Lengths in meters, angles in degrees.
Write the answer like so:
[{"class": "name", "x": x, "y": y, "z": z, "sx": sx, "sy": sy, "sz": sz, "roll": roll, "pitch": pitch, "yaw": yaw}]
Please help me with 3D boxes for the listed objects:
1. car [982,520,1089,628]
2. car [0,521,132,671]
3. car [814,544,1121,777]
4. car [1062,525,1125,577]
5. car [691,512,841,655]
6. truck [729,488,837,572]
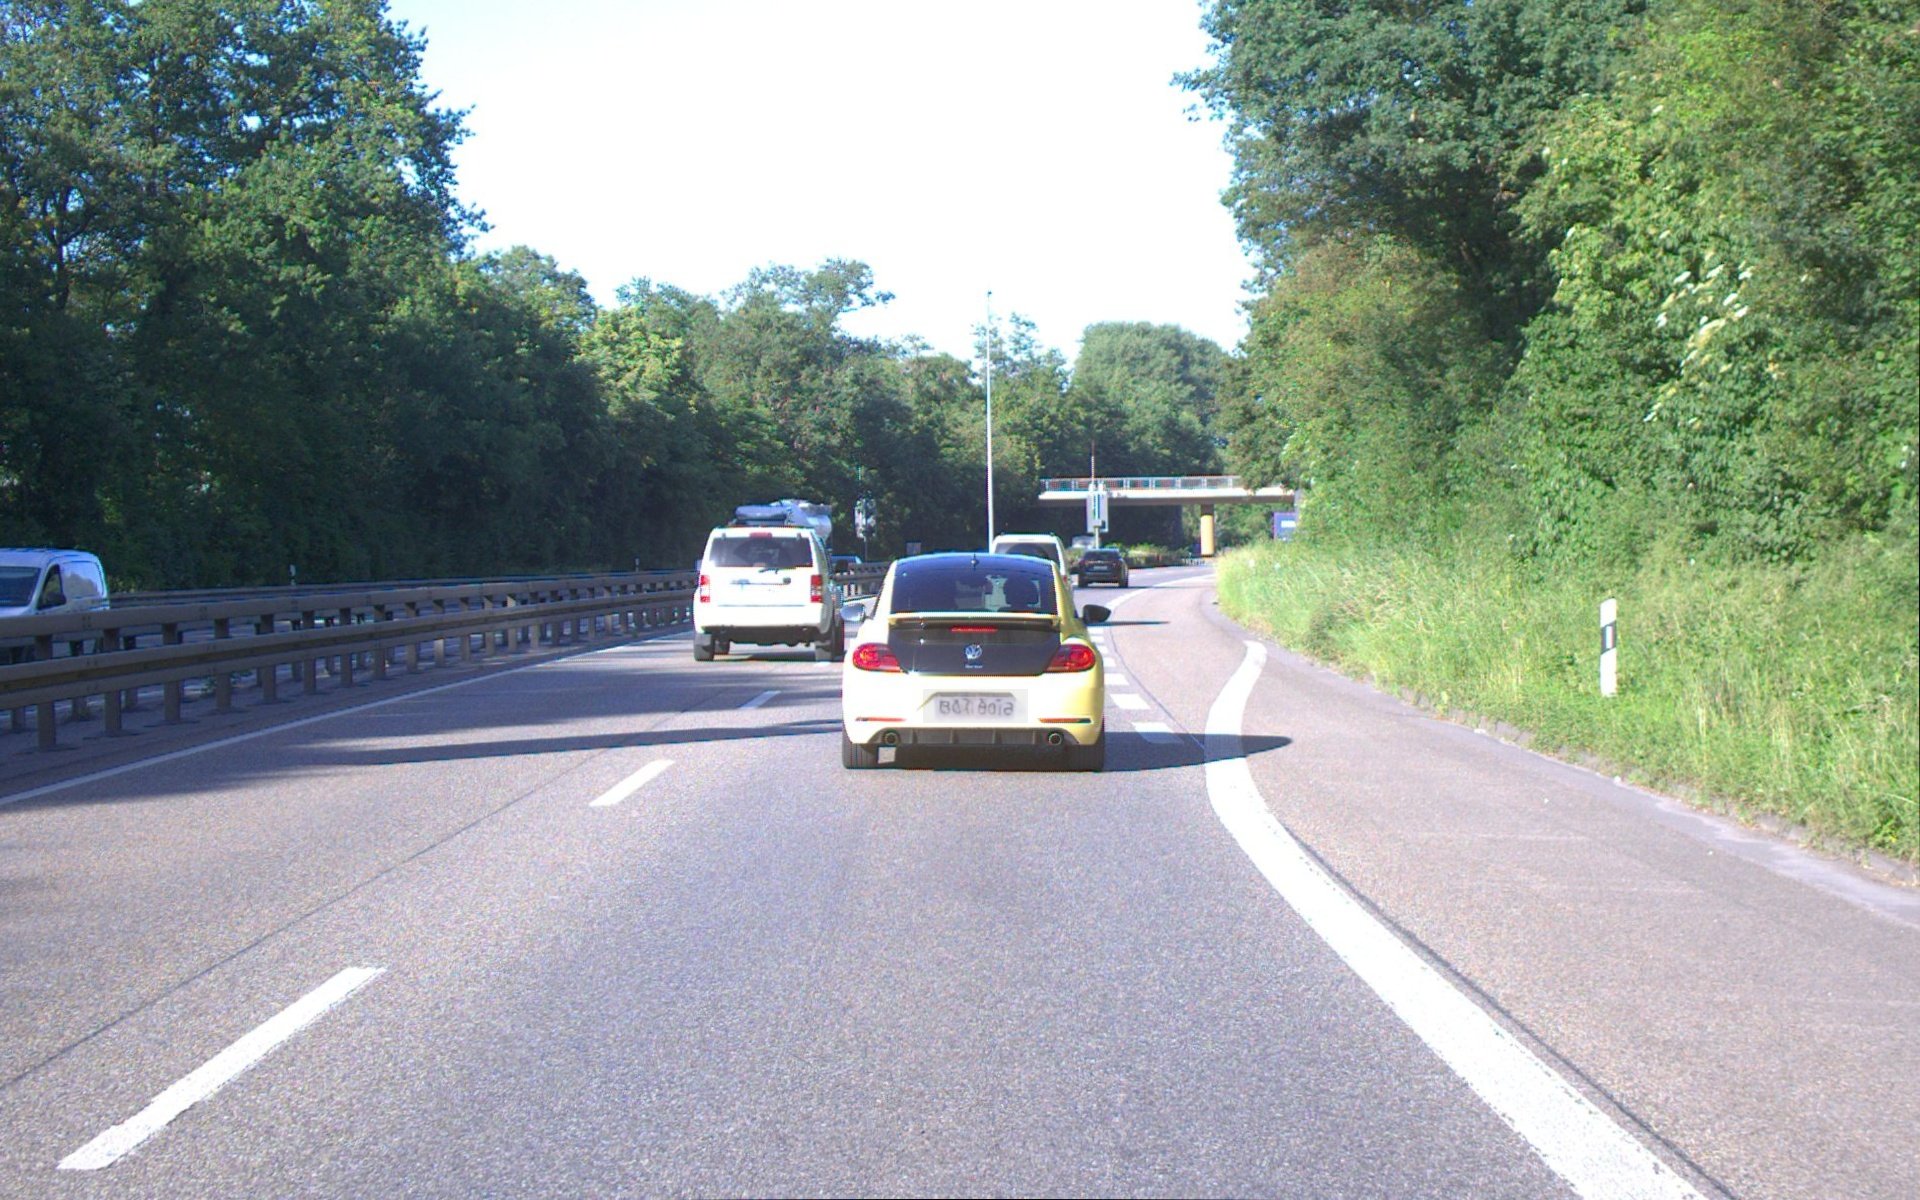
[{"class": "car", "x": 1.481, "y": -0.533, "z": 68.293, "sx": 1.993, "sy": 2.007, "sz": 4.000, "roll": -2, "pitch": 1, "yaw": 1}, {"class": "car", "x": -12.202, "y": -0.068, "z": 43.814, "sx": 1.993, "sy": 1.782, "sz": 5.028, "roll": -2, "pitch": 1, "yaw": 0}, {"class": "car", "x": -0.018, "y": 0.366, "z": 24.173, "sx": 1.939, "sy": 1.503, "sz": 3.423, "roll": 0, "pitch": 1, "yaw": -3}, {"class": "car", "x": 5.069, "y": -1.880, "z": 131.396, "sx": 2.263, "sy": 1.869, "sz": 5.076, "roll": -2, "pitch": 1, "yaw": 1}, {"class": "car", "x": -2.551, "y": -0.240, "z": 45.784, "sx": 1.741, "sy": 1.823, "sz": 3.422, "roll": 1, "pitch": 1, "yaw": 1}, {"class": "truck", "x": -7.816, "y": -3.164, "z": 153.707, "sx": 2.889, "sy": 3.509, "sz": 11.950, "roll": -2, "pitch": 1, "yaw": 6}]
